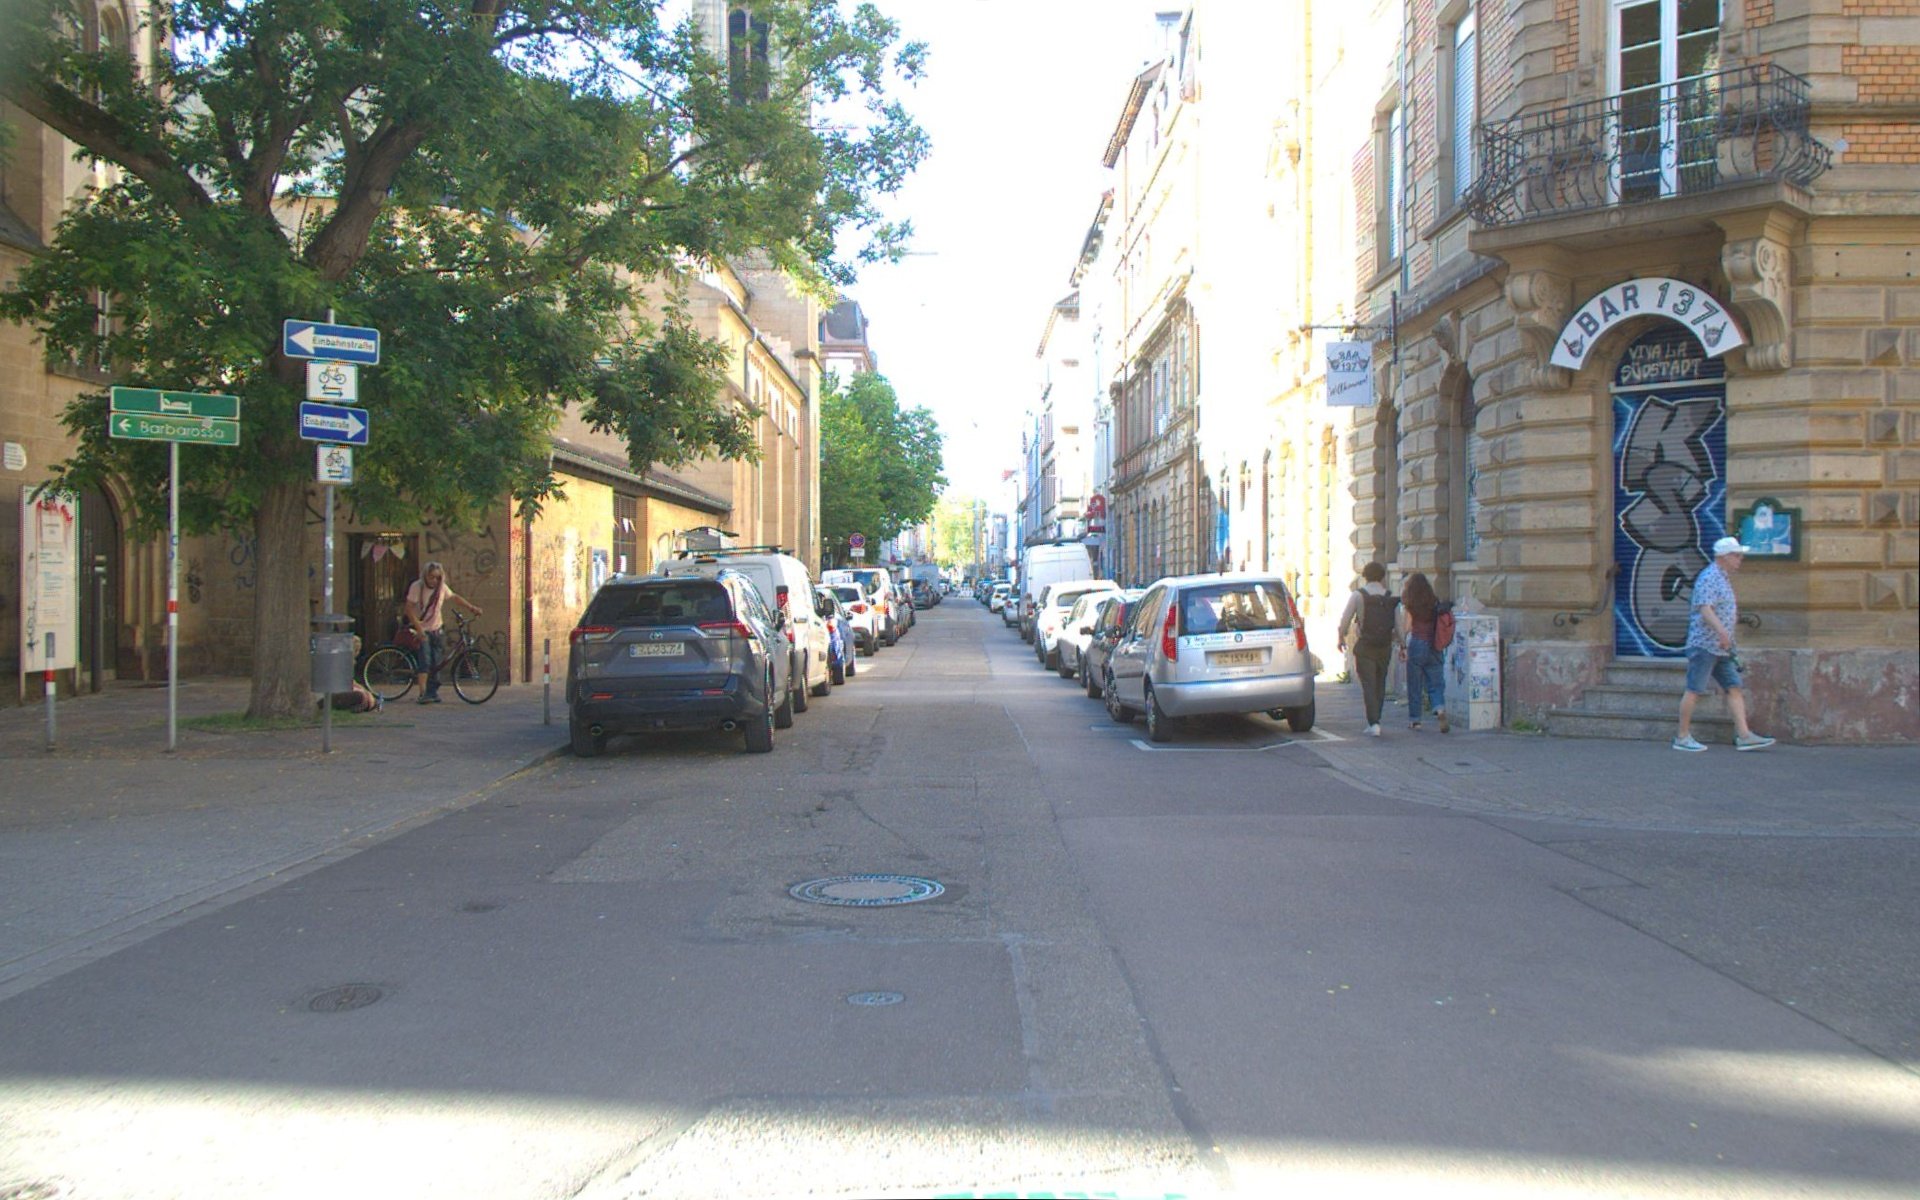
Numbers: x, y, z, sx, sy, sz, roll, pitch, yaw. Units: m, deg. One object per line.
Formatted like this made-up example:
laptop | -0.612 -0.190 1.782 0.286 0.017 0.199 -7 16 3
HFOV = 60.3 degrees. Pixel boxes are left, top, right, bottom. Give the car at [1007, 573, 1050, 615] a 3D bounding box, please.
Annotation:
car | 2.595 -0.253 63.298 1.570 1.531 4.001 1 1 1

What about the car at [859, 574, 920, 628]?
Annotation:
car | -2.069 -0.007 49.340 1.582 1.477 3.950 -2 1 0

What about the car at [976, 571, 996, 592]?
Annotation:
car | 2.653 -1.859 168.036 1.952 2.049 4.001 -1 1 0

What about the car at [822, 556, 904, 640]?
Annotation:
car | -2.475 -0.094 43.336 1.826 1.991 4.610 -2 1 0

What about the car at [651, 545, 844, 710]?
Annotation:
car | -2.638 0.264 21.537 1.807 1.894 4.466 -1 1 1

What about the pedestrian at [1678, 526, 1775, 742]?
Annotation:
pedestrian | 6.406 0.273 13.843 0.648 1.762 0.576 -1 1 20

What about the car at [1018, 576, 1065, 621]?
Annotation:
car | 2.824 -0.080 57.874 1.537 1.521 3.654 1 1 1

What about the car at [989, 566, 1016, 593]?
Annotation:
car | 2.848 -1.391 112.260 1.733 1.771 4.001 -1 1 0

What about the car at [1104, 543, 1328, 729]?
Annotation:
car | 2.639 0.310 17.891 1.669 1.744 3.937 -2 1 -2

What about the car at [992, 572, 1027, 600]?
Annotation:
car | 2.709 -0.783 91.499 1.858 1.514 3.870 -1 1 0

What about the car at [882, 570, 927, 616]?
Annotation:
car | -2.133 -0.284 64.164 1.567 1.642 3.808 -3 1 0

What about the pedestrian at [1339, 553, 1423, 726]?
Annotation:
pedestrian | 4.094 0.366 16.113 0.579 1.631 0.727 -2 1 -2

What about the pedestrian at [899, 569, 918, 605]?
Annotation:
pedestrian | -2.751 -0.696 87.811 0.766 1.875 1.012 0 1 15

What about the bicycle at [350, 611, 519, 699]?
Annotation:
bicycle | -6.298 0.643 19.873 1.724 0.939 0.827 2 1 8

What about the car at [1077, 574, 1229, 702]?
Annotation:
car | 2.534 0.439 22.451 1.504 1.539 3.681 -2 1 -2

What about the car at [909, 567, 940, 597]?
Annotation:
car | -2.220 -1.139 103.738 1.837 1.827 4.001 -1 1 0

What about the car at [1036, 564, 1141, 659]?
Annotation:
car | 2.478 0.186 32.702 1.770 1.719 4.215 1 0 1

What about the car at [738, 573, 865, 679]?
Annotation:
car | -2.515 0.363 26.988 1.653 1.502 3.860 -3 1 0

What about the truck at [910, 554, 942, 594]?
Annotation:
truck | -2.864 -2.254 141.950 2.480 3.339 6.995 -1 1 0

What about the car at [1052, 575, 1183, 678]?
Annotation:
car | 2.562 0.376 27.641 1.541 1.551 3.906 1 1 -4

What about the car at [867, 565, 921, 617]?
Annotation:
car | -2.137 -0.313 54.382 1.639 1.586 4.000 -2 1 -1

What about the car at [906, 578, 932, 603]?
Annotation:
car | -3.120 -0.715 125.305 1.838 1.827 3.999 -1 1 -2

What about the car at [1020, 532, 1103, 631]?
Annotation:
car | 2.819 -0.557 47.092 2.025 2.656 5.888 0 1 0

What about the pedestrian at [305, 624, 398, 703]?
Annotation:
pedestrian | -6.604 0.673 17.935 0.904 0.792 0.697 -1 1 -24

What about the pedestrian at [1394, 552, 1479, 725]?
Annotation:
pedestrian | 4.682 0.361 16.284 0.562 1.650 0.734 -2 1 -2

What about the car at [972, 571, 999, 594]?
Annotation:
car | 1.909 -1.350 125.950 1.953 1.660 4.001 2 1 0

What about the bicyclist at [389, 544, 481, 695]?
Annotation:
bicyclist | -6.303 0.221 19.865 0.788 1.753 0.693 2 1 8

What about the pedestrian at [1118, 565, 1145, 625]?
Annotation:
pedestrian | 5.194 -0.150 49.996 0.626 1.803 0.679 1 0 20

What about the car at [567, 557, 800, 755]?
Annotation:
car | -2.582 0.437 16.366 1.705 1.675 4.288 -1 1 -2

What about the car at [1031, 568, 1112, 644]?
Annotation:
car | 2.568 0.094 38.845 1.652 1.671 3.925 -1 1 0

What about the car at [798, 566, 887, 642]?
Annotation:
car | -2.601 0.045 37.429 1.706 1.614 3.869 0 1 0
